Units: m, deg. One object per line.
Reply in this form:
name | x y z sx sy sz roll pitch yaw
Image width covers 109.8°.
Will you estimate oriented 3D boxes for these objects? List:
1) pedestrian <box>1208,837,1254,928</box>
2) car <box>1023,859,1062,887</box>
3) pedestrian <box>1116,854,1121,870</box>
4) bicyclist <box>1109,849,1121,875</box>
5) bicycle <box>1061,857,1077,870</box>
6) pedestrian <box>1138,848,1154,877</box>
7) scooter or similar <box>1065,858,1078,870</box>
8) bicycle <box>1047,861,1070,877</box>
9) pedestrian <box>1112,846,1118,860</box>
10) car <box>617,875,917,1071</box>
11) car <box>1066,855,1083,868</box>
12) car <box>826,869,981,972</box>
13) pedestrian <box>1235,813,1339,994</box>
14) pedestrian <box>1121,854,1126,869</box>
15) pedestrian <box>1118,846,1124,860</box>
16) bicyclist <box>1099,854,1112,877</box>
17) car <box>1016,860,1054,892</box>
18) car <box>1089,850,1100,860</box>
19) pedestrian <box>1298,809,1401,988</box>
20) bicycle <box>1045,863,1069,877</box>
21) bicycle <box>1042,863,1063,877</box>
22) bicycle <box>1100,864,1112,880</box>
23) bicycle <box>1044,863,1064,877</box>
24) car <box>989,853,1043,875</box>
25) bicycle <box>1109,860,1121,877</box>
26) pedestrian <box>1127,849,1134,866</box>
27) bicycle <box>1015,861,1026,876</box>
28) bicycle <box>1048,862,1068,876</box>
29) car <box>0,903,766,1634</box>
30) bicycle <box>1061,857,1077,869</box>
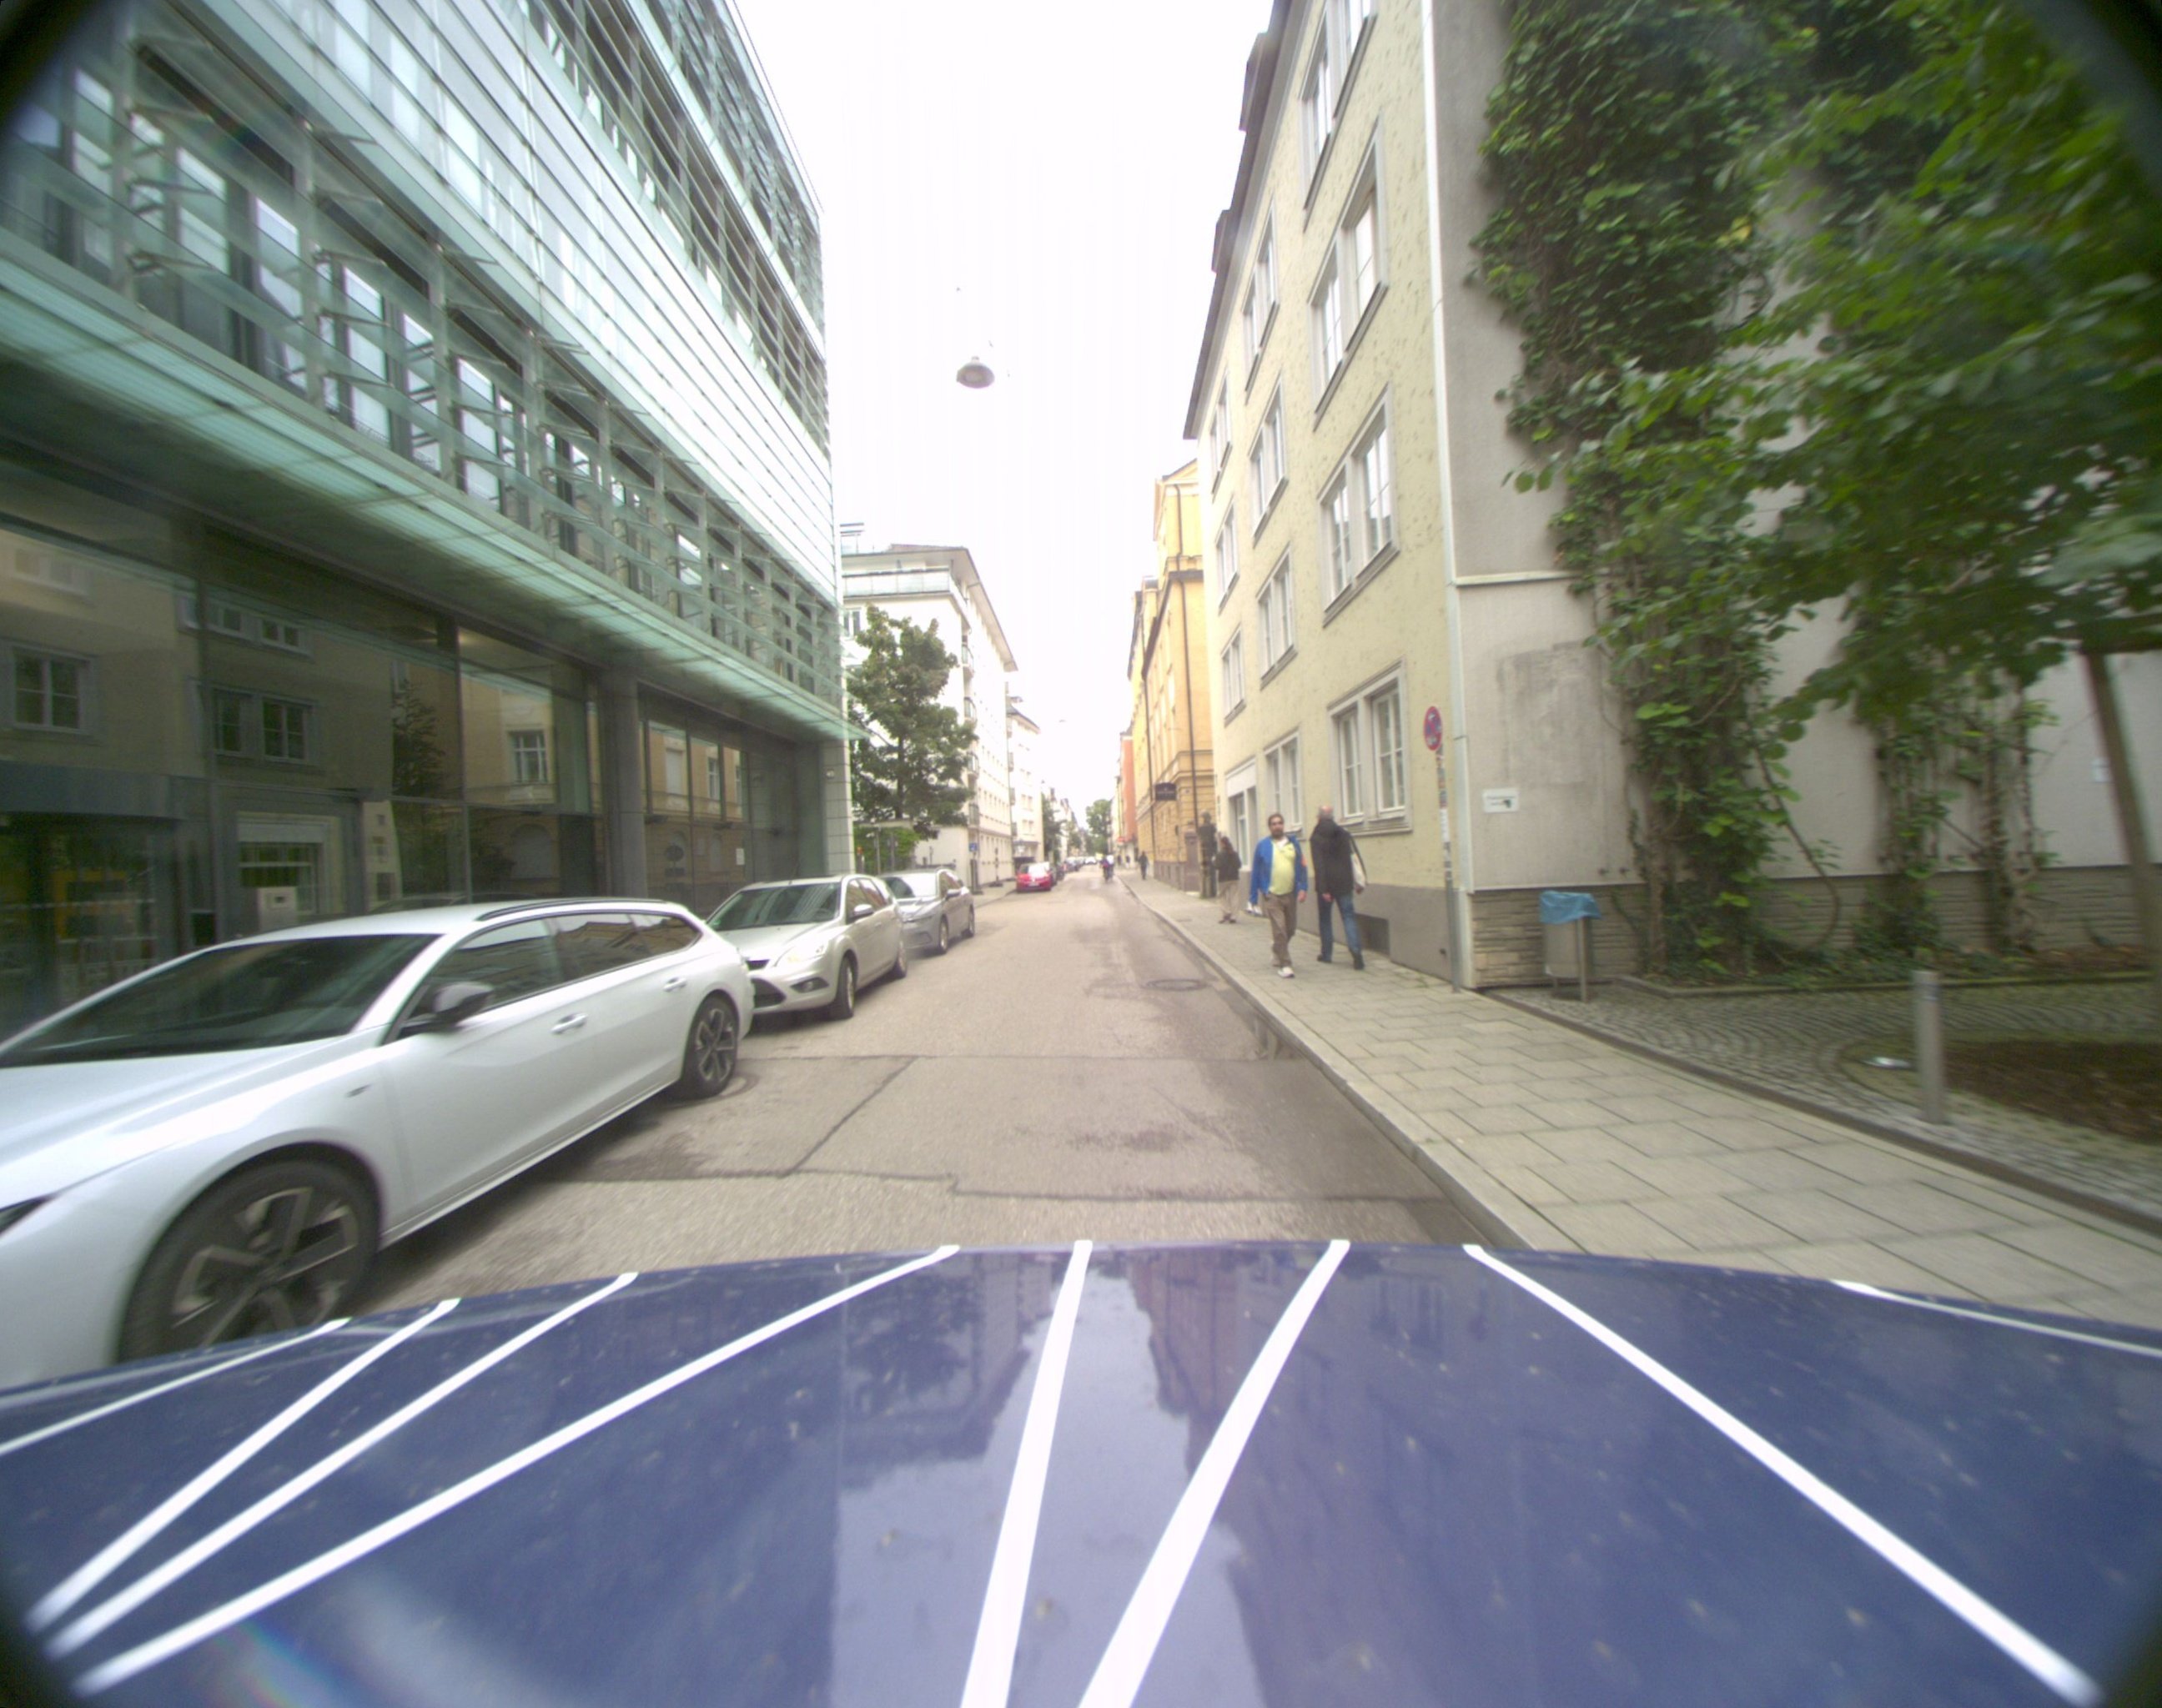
pedestrian | 2.861 0.531 14.552 0.648 1.666 0.724 -4 1 0
car | -2.269 1.086 45.560 1.799 1.430 4.384 -4 0 3
pedestrian | 4.929 1.073 100.288 0.635 2.002 0.788 -2 0 2
bicyclist | 2.174 0.514 49.129 0.661 1.633 0.895 -3 0 1
bicycle | -1.289 1.003 80.205 1.607 1.207 0.529 -3 1 4
pedestrian | 3.847 0.482 45.177 0.714 1.656 0.930 -6 0 1
scooter or similar | -0.976 0.999 78.795 1.340 1.207 0.344 -3 1 4
bicycle | -1.708 1.164 58.700 1.699 1.154 0.378 -3 1 1
pedestrian | 4.516 -0.111 99.861 0.726 1.783 0.830 -3 1 2
car | -3.206 1.098 8.783 1.712 1.459 4.236 -5 0 -2
car | -0.735 0.872 86.616 1.653 1.390 4.000 -3 0 2
car | -3.035 1.073 13.951 1.712 1.424 4.329 -3 0 1
pedestrian | 2.260 0.517 8.486 0.759 1.844 1.077 -5 1 1
pedestrian | 5.598 1.029 100.304 0.635 2.002 0.788 -2 0 2
pedestrian | 5.300 -0.107 99.874 0.699 1.783 0.763 -3 1 2
bicyclist | 1.503 0.685 46.873 0.709 1.363 0.813 -3 0 1
car | -2.468 1.122 40.281 1.766 1.438 4.297 -5 0 -4
car | 2.494 0.157 138.326 1.929 1.794 4.444 -3 0 1
pedestrian | 3.009 0.476 8.649 0.869 1.870 1.136 -4 1 13
bicycle | -1.764 1.163 55.312 1.707 1.037 0.360 -1 1 2
bicycle | -2.118 1.166 56.701 1.520 1.037 0.360 -1 1 10
bicycle | 1.537 1.123 46.916 0.709 0.900 1.809 -3 0 1
bicycle | -1.999 1.169 55.785 1.438 1.037 0.330 -1 1 10
car | -6.217 0.920 72.958 4.676 1.880 1.935 -3 0 10
bicycle | 2.188 0.952 49.131 0.663 1.033 2.005 -3 0 1
pedestrian | 4.989 0.391 77.209 0.613 1.684 0.566 -3 1 1
bicycle | -4.904 1.163 61.484 0.399 1.197 1.503 -1 1 -23
bicycle | -1.700 1.155 57.028 1.441 1.037 0.360 -1 1 10
car | -3.366 1.156 3.570 1.712 1.406 4.509 -5 0 1
bicycle | -1.313 1.000 80.803 1.607 1.207 0.529 -3 1 4
